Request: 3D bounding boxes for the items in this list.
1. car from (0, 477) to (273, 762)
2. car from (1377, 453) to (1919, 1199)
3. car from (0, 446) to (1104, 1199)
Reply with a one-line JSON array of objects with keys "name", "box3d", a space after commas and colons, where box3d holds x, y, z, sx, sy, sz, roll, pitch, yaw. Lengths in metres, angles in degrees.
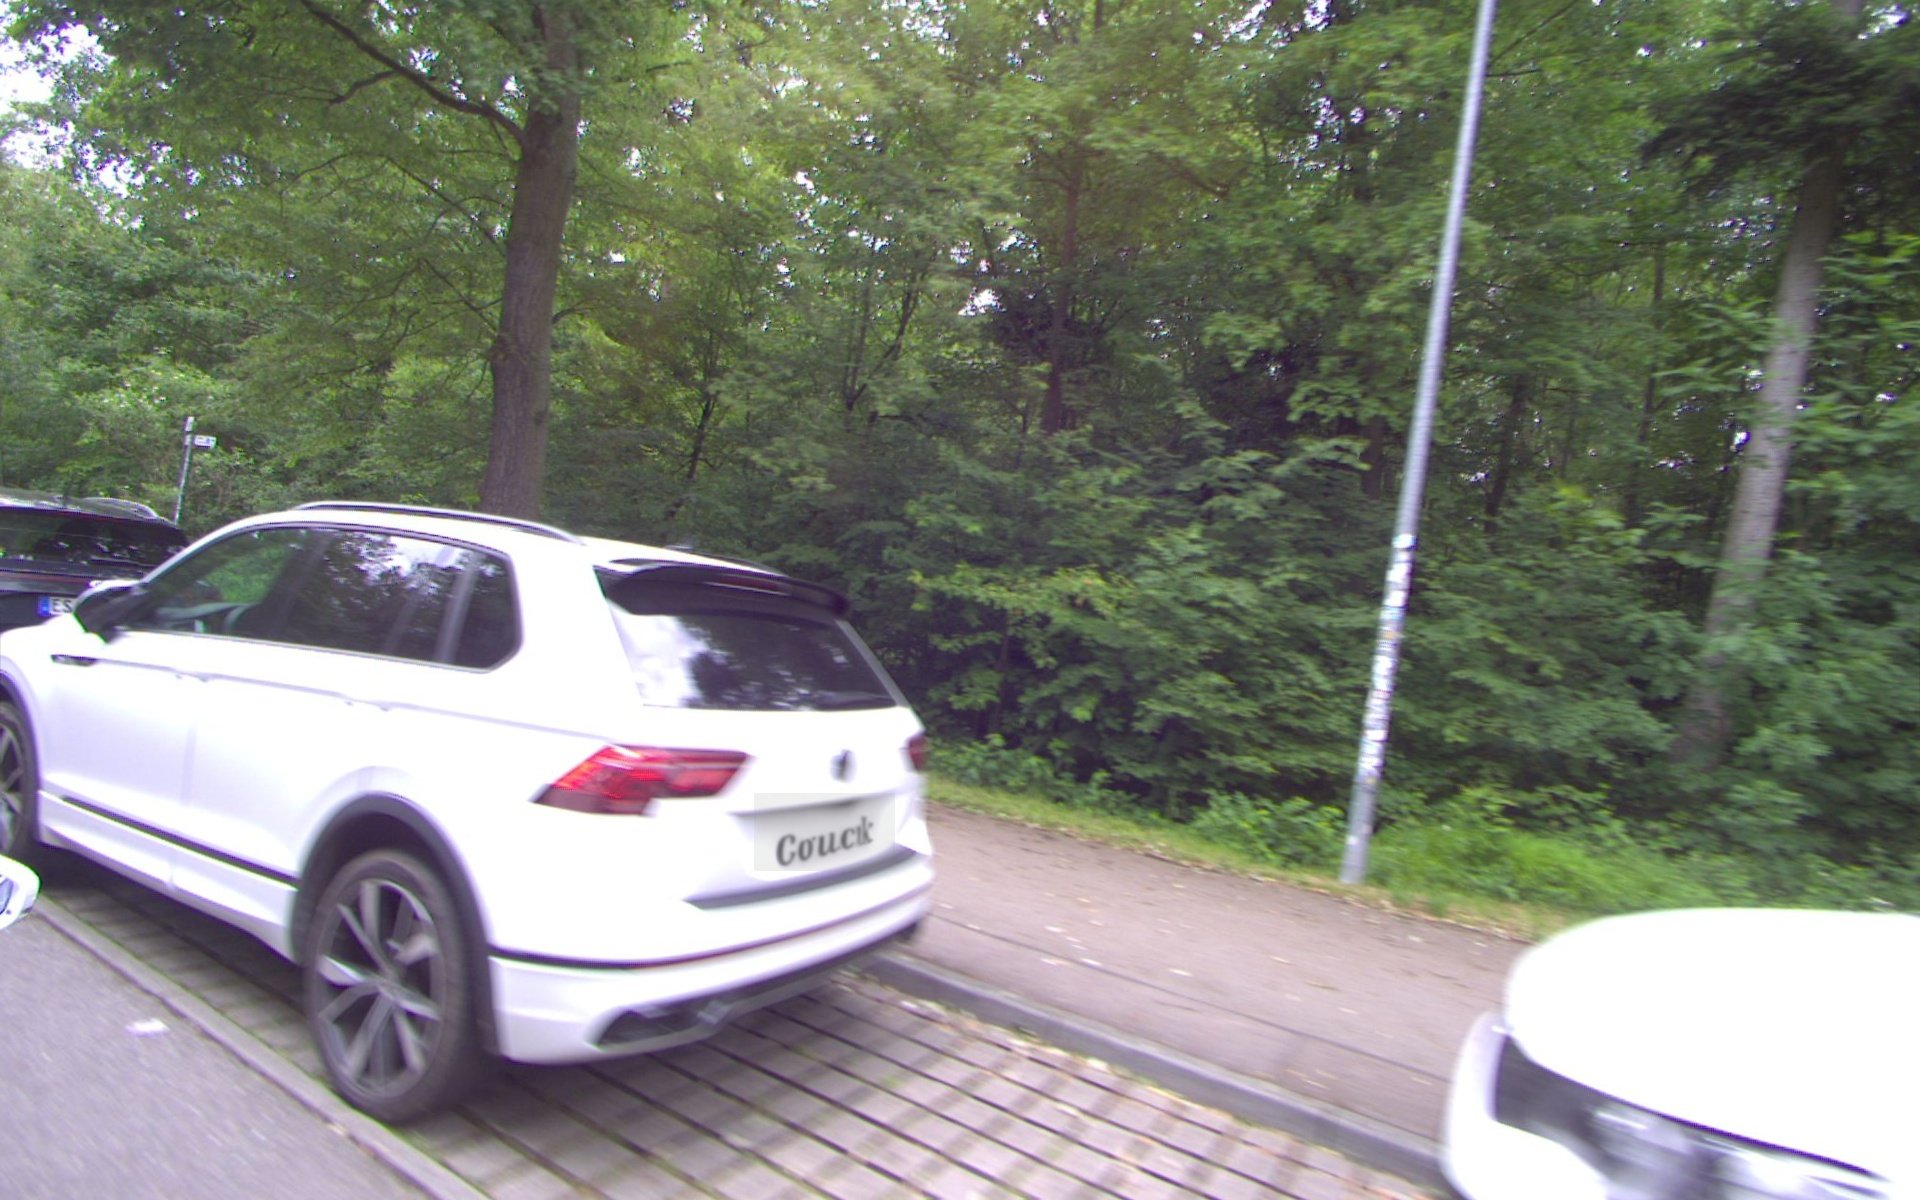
[{"name": "car", "box3d": [-7.130, -0.063, 7.235, 4.371, 1.626, 1.755, 7, -2, 30]}, {"name": "car", "box3d": [2.942, 1.013, 1.046, 4.474, 1.801, 1.749, 7, -2, 30]}, {"name": "car", "box3d": [-2.020, 0.496, 3.953, 4.636, 1.681, 1.790, 7, -2, 29]}]
